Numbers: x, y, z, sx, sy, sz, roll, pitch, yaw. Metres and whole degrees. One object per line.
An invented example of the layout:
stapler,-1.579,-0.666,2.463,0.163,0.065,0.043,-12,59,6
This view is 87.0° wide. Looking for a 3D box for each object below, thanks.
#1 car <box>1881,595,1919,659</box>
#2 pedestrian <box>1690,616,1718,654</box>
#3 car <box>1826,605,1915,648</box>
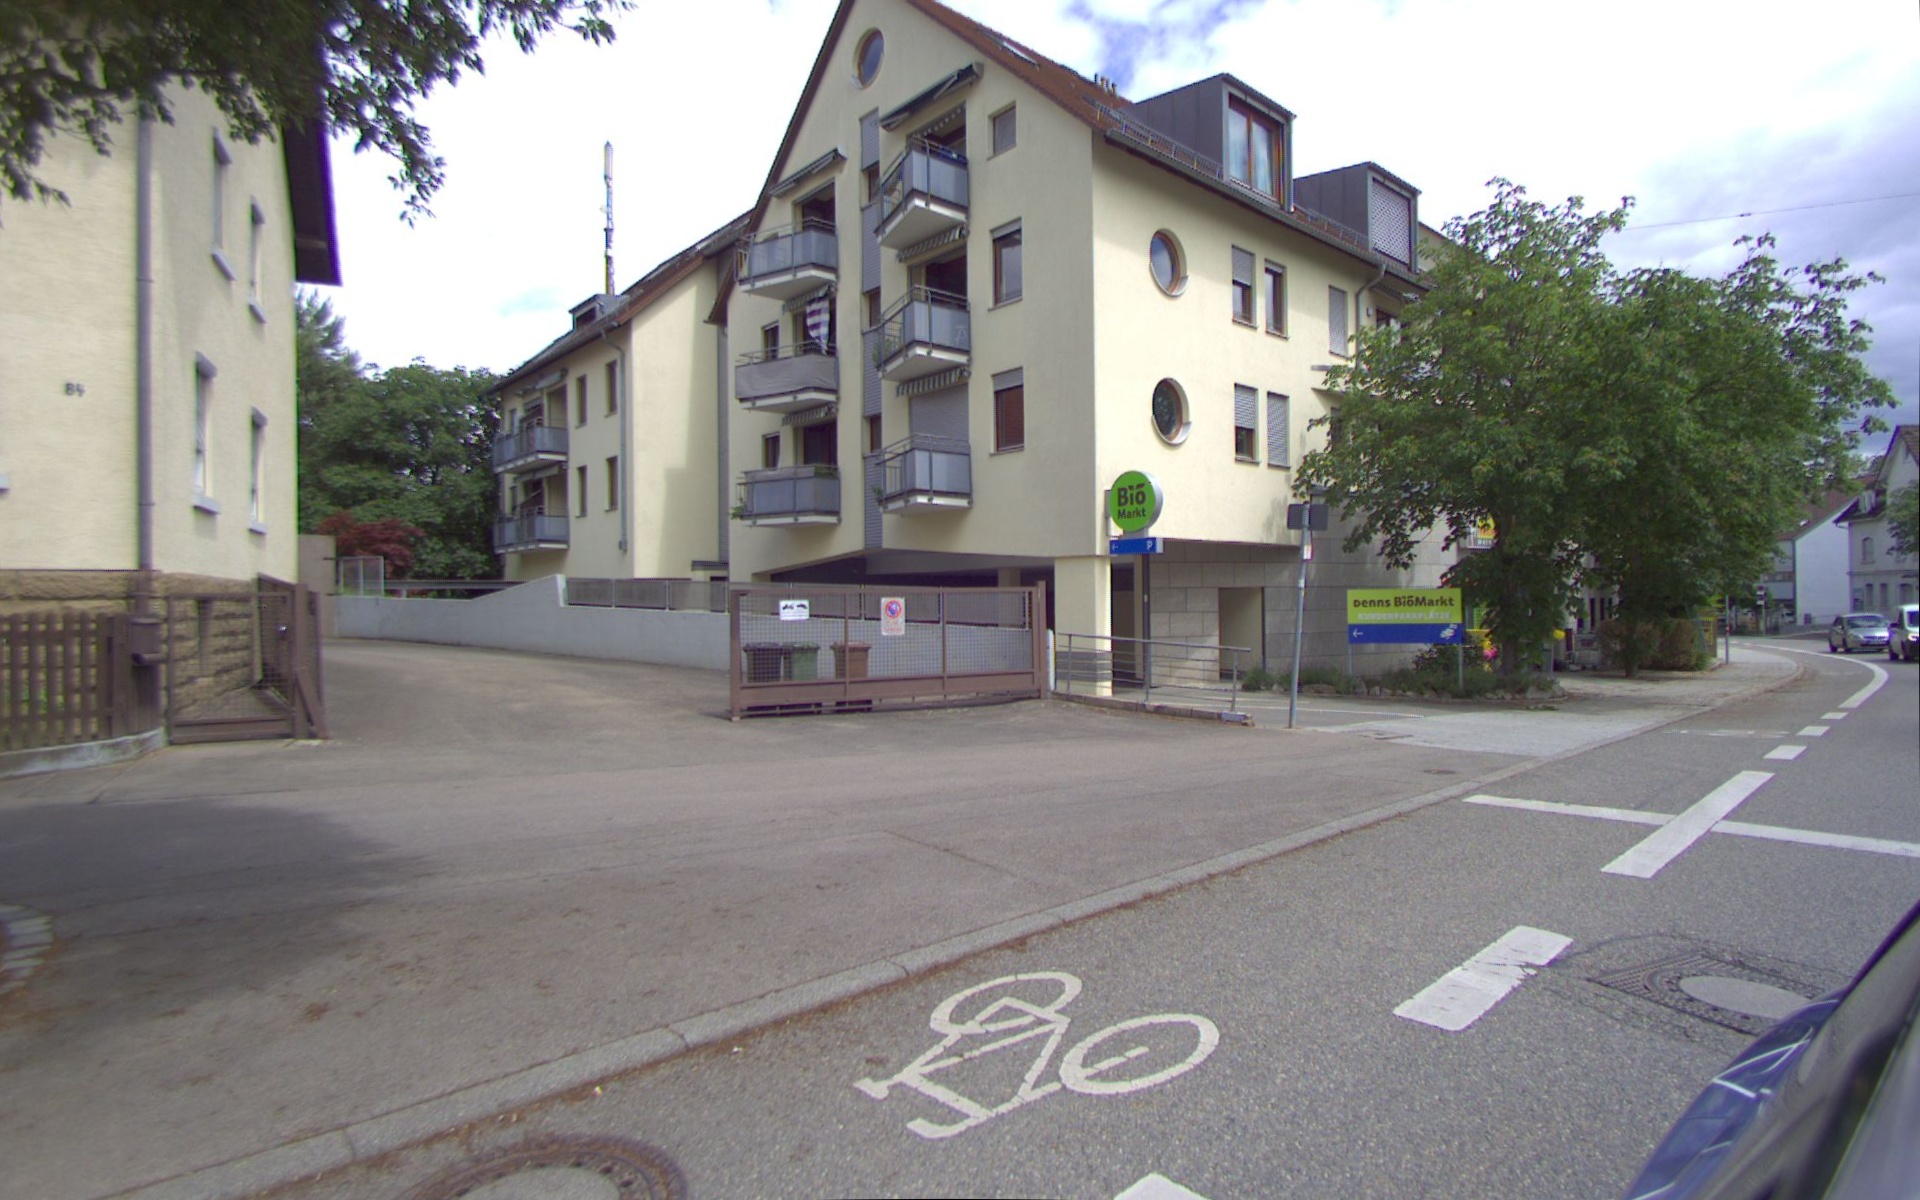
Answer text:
car,30.184,0.768,31.179,1.838,1.839,3.955,-4,-2,31
pedestrian,26.636,1.239,36.238,0.729,1.317,0.742,-1,-2,43
car,35.301,1.003,39.329,1.679,1.505,3.957,-4,-2,30
